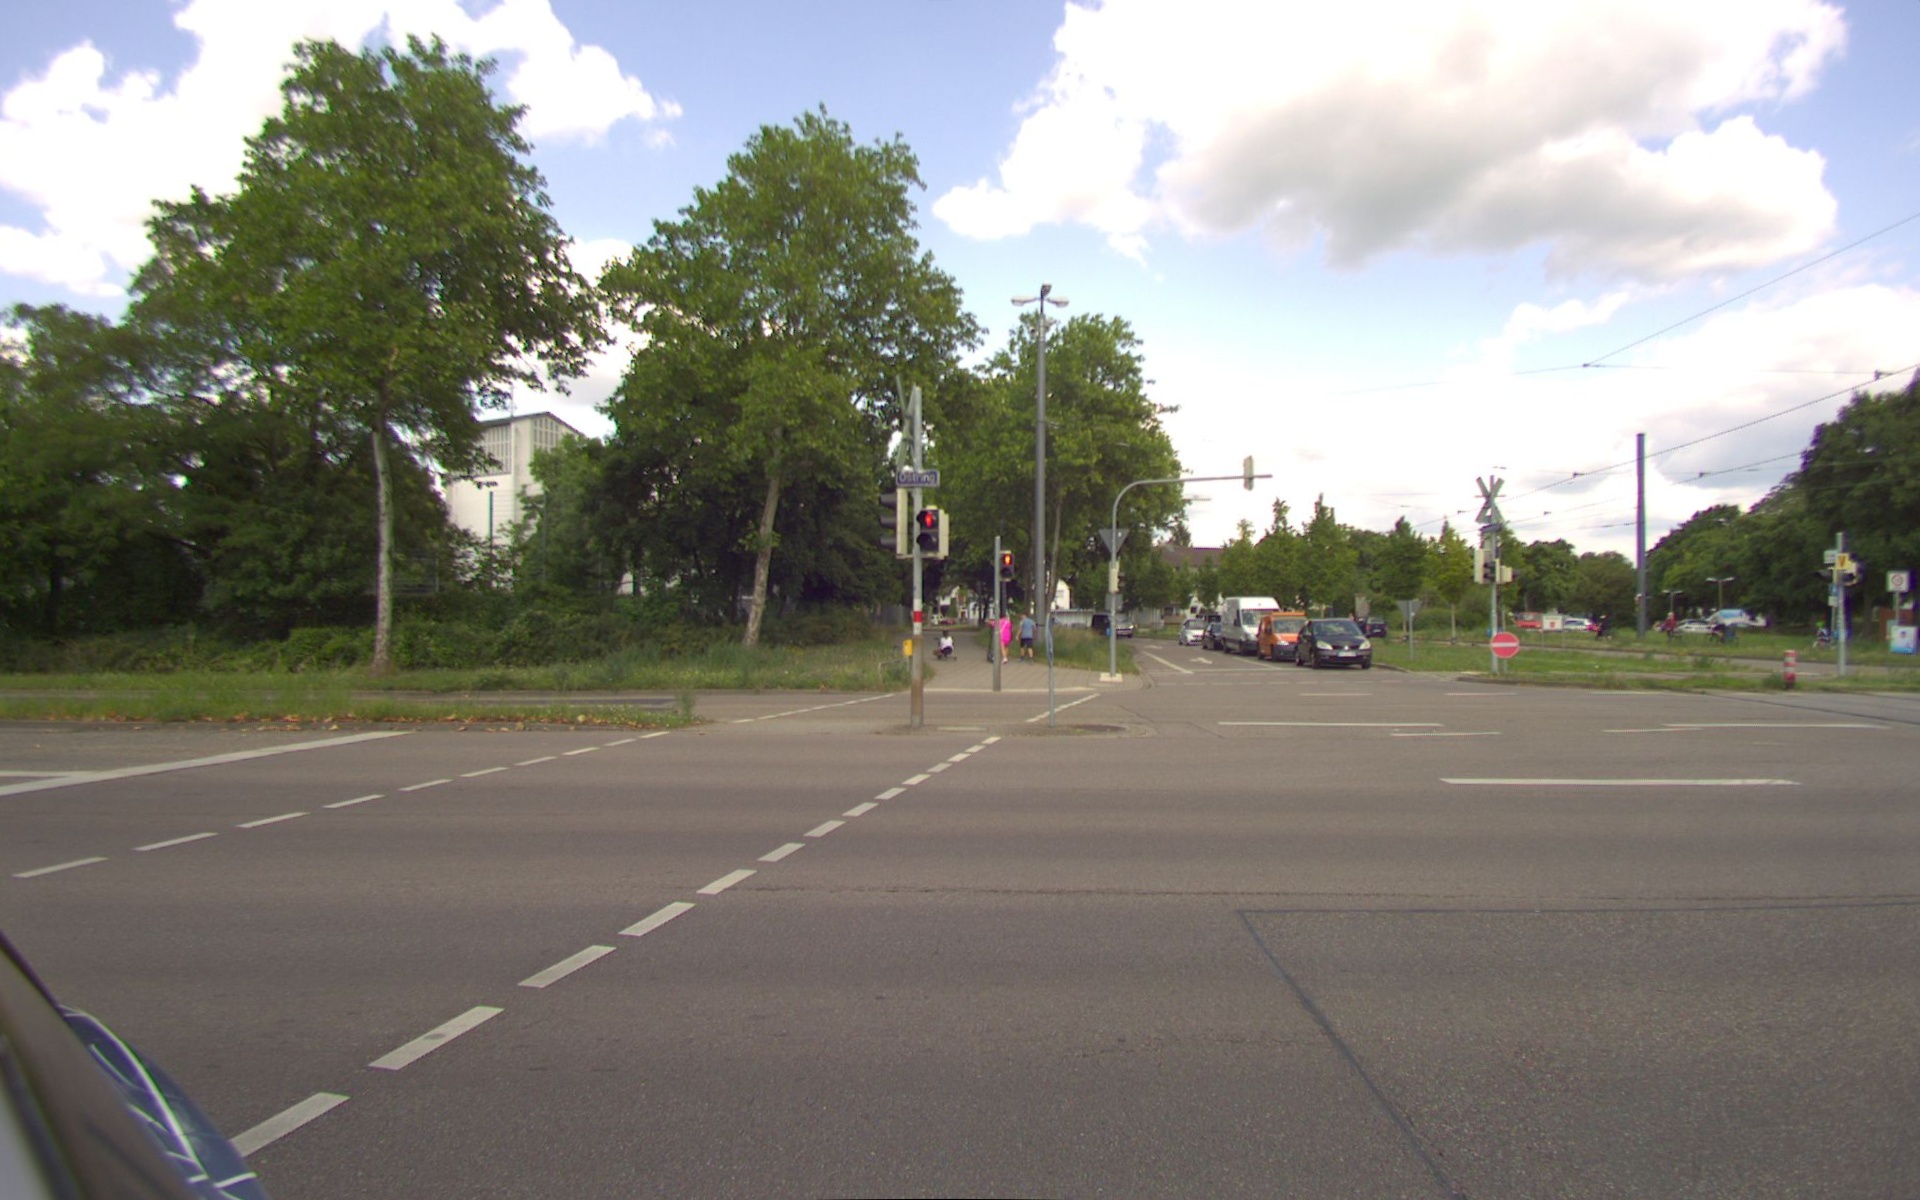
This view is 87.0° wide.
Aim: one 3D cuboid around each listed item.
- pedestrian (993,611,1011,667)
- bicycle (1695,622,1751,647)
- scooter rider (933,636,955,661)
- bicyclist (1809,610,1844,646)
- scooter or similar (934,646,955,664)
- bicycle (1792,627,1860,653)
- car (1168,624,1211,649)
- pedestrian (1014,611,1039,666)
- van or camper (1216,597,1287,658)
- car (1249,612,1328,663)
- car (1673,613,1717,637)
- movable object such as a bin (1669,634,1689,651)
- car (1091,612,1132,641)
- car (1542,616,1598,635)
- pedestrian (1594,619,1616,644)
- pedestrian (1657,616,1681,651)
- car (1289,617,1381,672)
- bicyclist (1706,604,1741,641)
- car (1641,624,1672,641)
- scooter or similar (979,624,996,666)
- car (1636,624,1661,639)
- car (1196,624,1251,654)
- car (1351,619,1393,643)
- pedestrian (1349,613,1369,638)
[{"bbox_3d":[1.268,1.164,30.326,0.417,1.631,0.594,-1,-1,12],"label":"pedestrian"},{"bbox_3d":[36.036,1.621,47.825,0.936,1.163,1.988,0,-1,-9],"label":"bicycle"},{"bbox_3d":[-0.471,1.457,30.580,0.604,0.734,0.859,-2,-2,1],"label":"scooter rider"},{"bbox_3d":[36.753,1.170,42.949,0.947,1.500,0.838,1,-2,-30],"label":"bicyclist"},{"bbox_3d":[-0.453,1.654,30.579,0.603,0.515,0.857,-2,-1,1],"label":"scooter or similar"},{"bbox_3d":[36.750,1.674,42.956,0.935,1.048,1.990,1,-2,-30],"label":"bicycle"},{"bbox_3d":[13.528,2.125,59.832,1.788,1.442,4.377,0,-1,4],"label":"car"},{"bbox_3d":[1.995,1.139,30.330,0.626,1.631,0.608,-1,-1,12],"label":"pedestrian"},{"bbox_3d":[12.946,1.238,45.321,1.957,2.544,6.026,0,-2,5],"label":"van or camper"},{"bbox_3d":[12.376,1.382,38.368,1.860,1.813,4.363,0,-1,5],"label":"car"},{"bbox_3d":[52.542,1.776,72.415,1.991,1.652,4.347,-1,-2,29],"label":"car"},{"bbox_3d":[34.337,2.021,48.344,0.569,0.817,0.461,-2,-2,-10],"label":"movable object such as a bin"},{"bbox_3d":[11.741,2.079,78.846,1.825,2.172,4.392,0,-1,-10],"label":"car"},{"bbox_3d":[51.672,2.161,85.790,3.984,1.541,1.980,-1,-2,30],"label":"car"},{"bbox_3d":[35.545,1.741,55.767,0.642,1.364,0.751,-2,-2,4],"label":"pedestrian"},{"bbox_3d":[34.230,1.625,48.854,0.603,1.657,0.639,-2,-2,-11],"label":"pedestrian"},{"bbox_3d":[11.872,1.365,32.308,1.714,1.643,4.046,0,-1,5],"label":"car"},{"bbox_3d":[36.044,1.072,47.774,0.948,1.735,0.837,0,-1,-9],"label":"bicyclist"},{"bbox_3d":[68.461,3.204,99.503,1.991,1.652,4.347,-1,-2,29],"label":"car"},{"bbox_3d":[0.824,1.342,30.552,0.319,1.241,0.772,-3,-2,14],"label":"scooter or similar"},{"bbox_3d":[79.468,3.640,116.878,1.991,1.652,4.347,-1,-2,29],"label":"car"},{"bbox_3d":[13.327,1.945,51.425,1.787,1.442,4.465,0,-1,3],"label":"car"},{"bbox_3d":[28.936,2.166,71.167,1.706,1.629,3.991,0,-1,7],"label":"car"},{"bbox_3d":[33.064,2.097,83.837,1.089,2.029,1.178,0,-1,-6],"label":"pedestrian"}]
